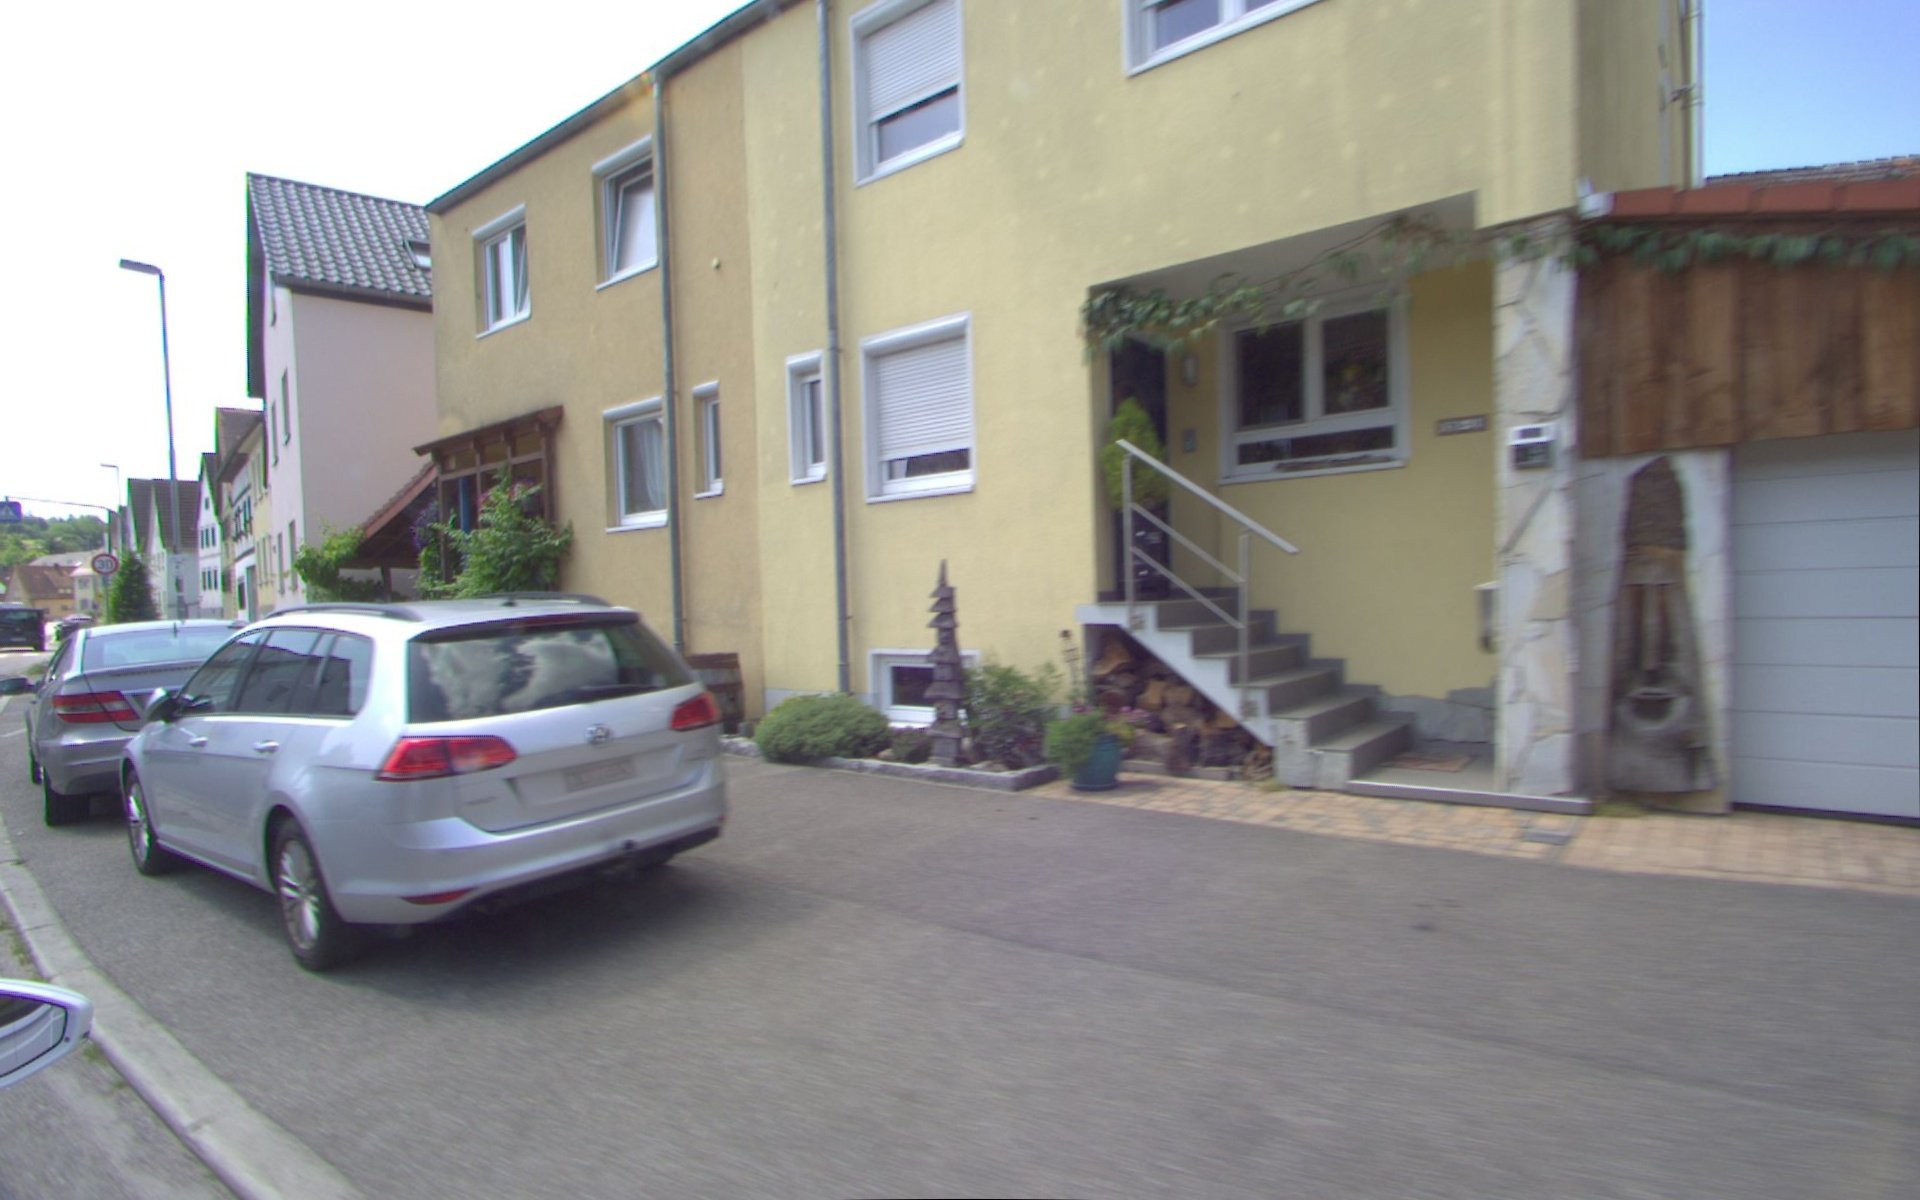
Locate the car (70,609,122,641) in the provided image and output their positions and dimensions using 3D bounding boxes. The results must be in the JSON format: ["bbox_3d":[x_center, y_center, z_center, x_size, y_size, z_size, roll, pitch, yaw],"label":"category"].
[{"bbox_3d":[-46.037,1.346,53.345,1.979,1.527,3.965,-1,-2,-42],"label":"car"}]

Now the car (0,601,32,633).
[{"bbox_3d":[-64.937,1.178,68.599,1.979,2.039,3.965,-1,-2,-43],"label":"car"}]

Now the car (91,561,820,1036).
[{"bbox_3d":[-2.950,0.690,5.432,4.283,1.551,1.875,-2,3,39],"label":"car"}]

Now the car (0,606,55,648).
[{"bbox_3d":[-43.108,1.262,46.125,1.980,1.839,3.963,-1,-2,-43],"label":"car"}]

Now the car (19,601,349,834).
[{"bbox_3d":[-6.927,0.851,8.736,1.757,1.418,4.383,-5,2,-44],"label":"car"}]

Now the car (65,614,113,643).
[{"bbox_3d":[-50.799,1.656,58.384,1.979,1.527,3.965,-1,-2,-42],"label":"car"}]
